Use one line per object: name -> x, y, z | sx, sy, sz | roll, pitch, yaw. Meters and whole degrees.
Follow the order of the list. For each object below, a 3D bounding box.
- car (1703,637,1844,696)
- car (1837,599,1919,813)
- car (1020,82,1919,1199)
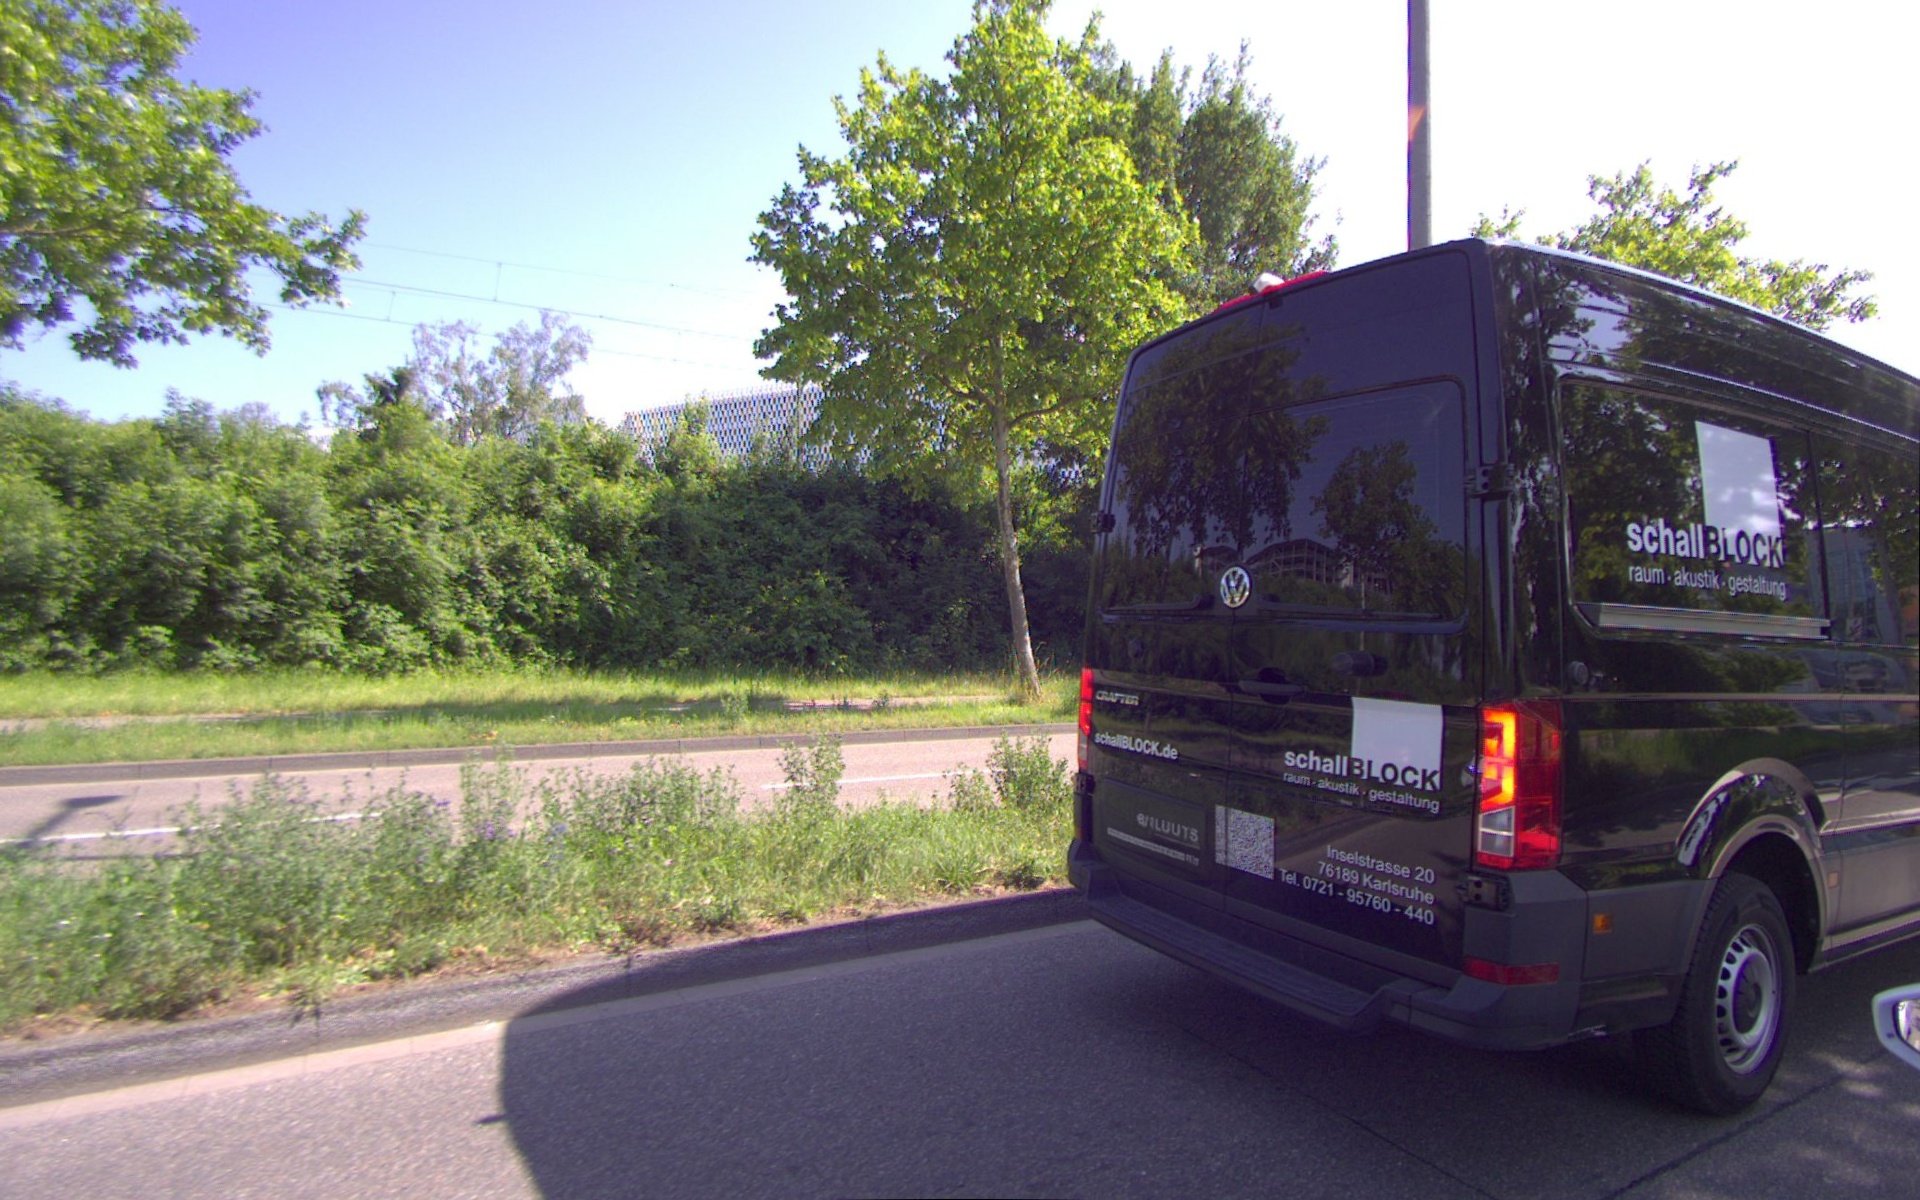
car -> 22.492, 1.809, 27.743 | 4.111, 1.505, 1.729 | 2, -4, -31
car -> 9.547, 0.904, 8.585 | 4.300, 1.669, 1.763 | 2, -1, -30
car -> 3.402, 0.229, 4.706 | 6.095, 2.642, 2.006 | 2, -1, -30
